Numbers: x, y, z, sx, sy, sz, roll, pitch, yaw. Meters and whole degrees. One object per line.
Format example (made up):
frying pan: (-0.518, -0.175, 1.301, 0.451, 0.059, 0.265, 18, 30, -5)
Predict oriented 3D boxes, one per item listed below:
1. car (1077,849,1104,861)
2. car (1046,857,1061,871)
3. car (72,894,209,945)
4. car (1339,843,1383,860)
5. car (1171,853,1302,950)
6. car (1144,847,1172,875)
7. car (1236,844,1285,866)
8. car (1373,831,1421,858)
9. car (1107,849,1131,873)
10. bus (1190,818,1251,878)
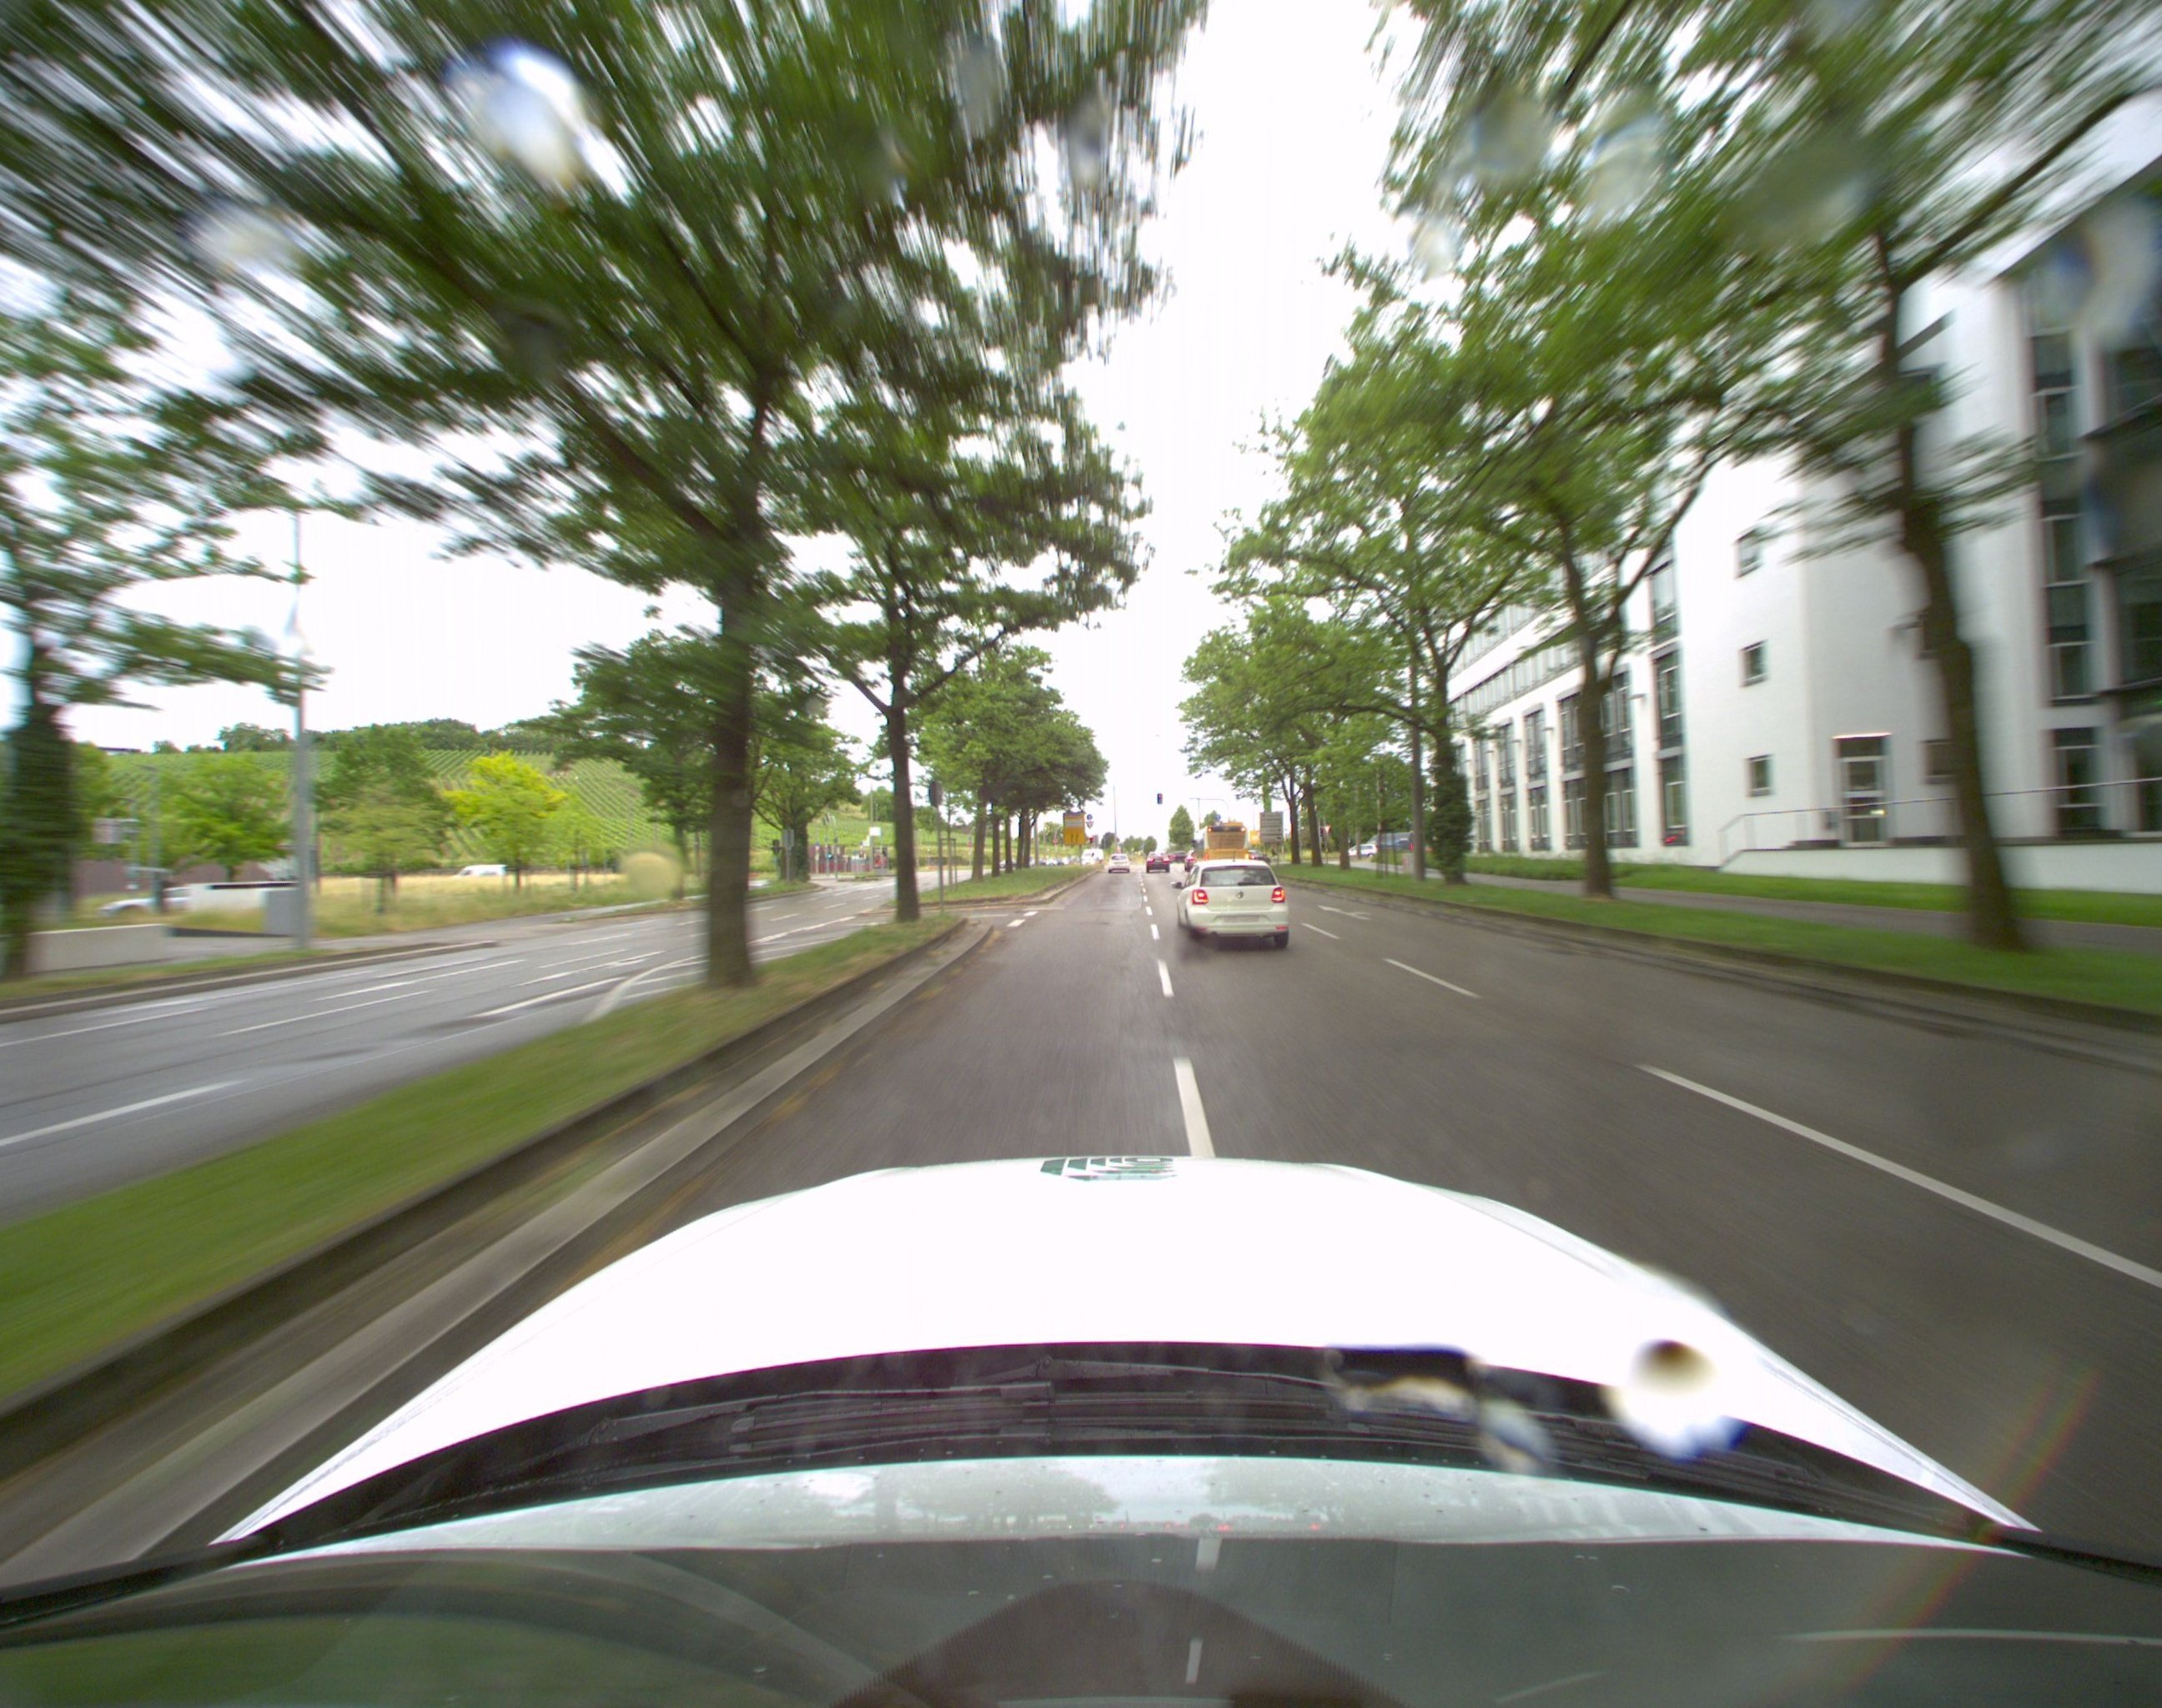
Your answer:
car: (1.768, 0.176, 143.469, 1.974, 2.013, 5.747, -3, 0, 32)
car: (-4.059, 1.490, 120.207, 1.986, 2.014, 4.000, -2, -2, 1)
car: (-44.244, 3.035, 38.467, 4.024, 2.013, 1.975, -3, 0, -45)
car: (28.582, -0.292, 83.044, 3.950, 1.536, 2.012, -3, 0, 25)
car: (2.643, 0.745, 14.711, 1.787, 1.502, 4.003, -1, 0, 3)
car: (5.960, 0.541, 63.493, 1.984, 2.014, 4.005, -3, -1, 4)
car: (13.791, 0.093, 62.558, 3.848, 1.515, 1.680, -2, -1, -40)
car: (32.586, -1.003, 83.980, 4.202, 2.563, 2.013, -3, 0, 32)
car: (3.082, 0.570, 65.273, 1.786, 1.741, 4.004, -3, -1, 4)
bus: (8.485, -0.350, 50.658, 2.815, 3.267, 10.013, -2, 0, 5)
